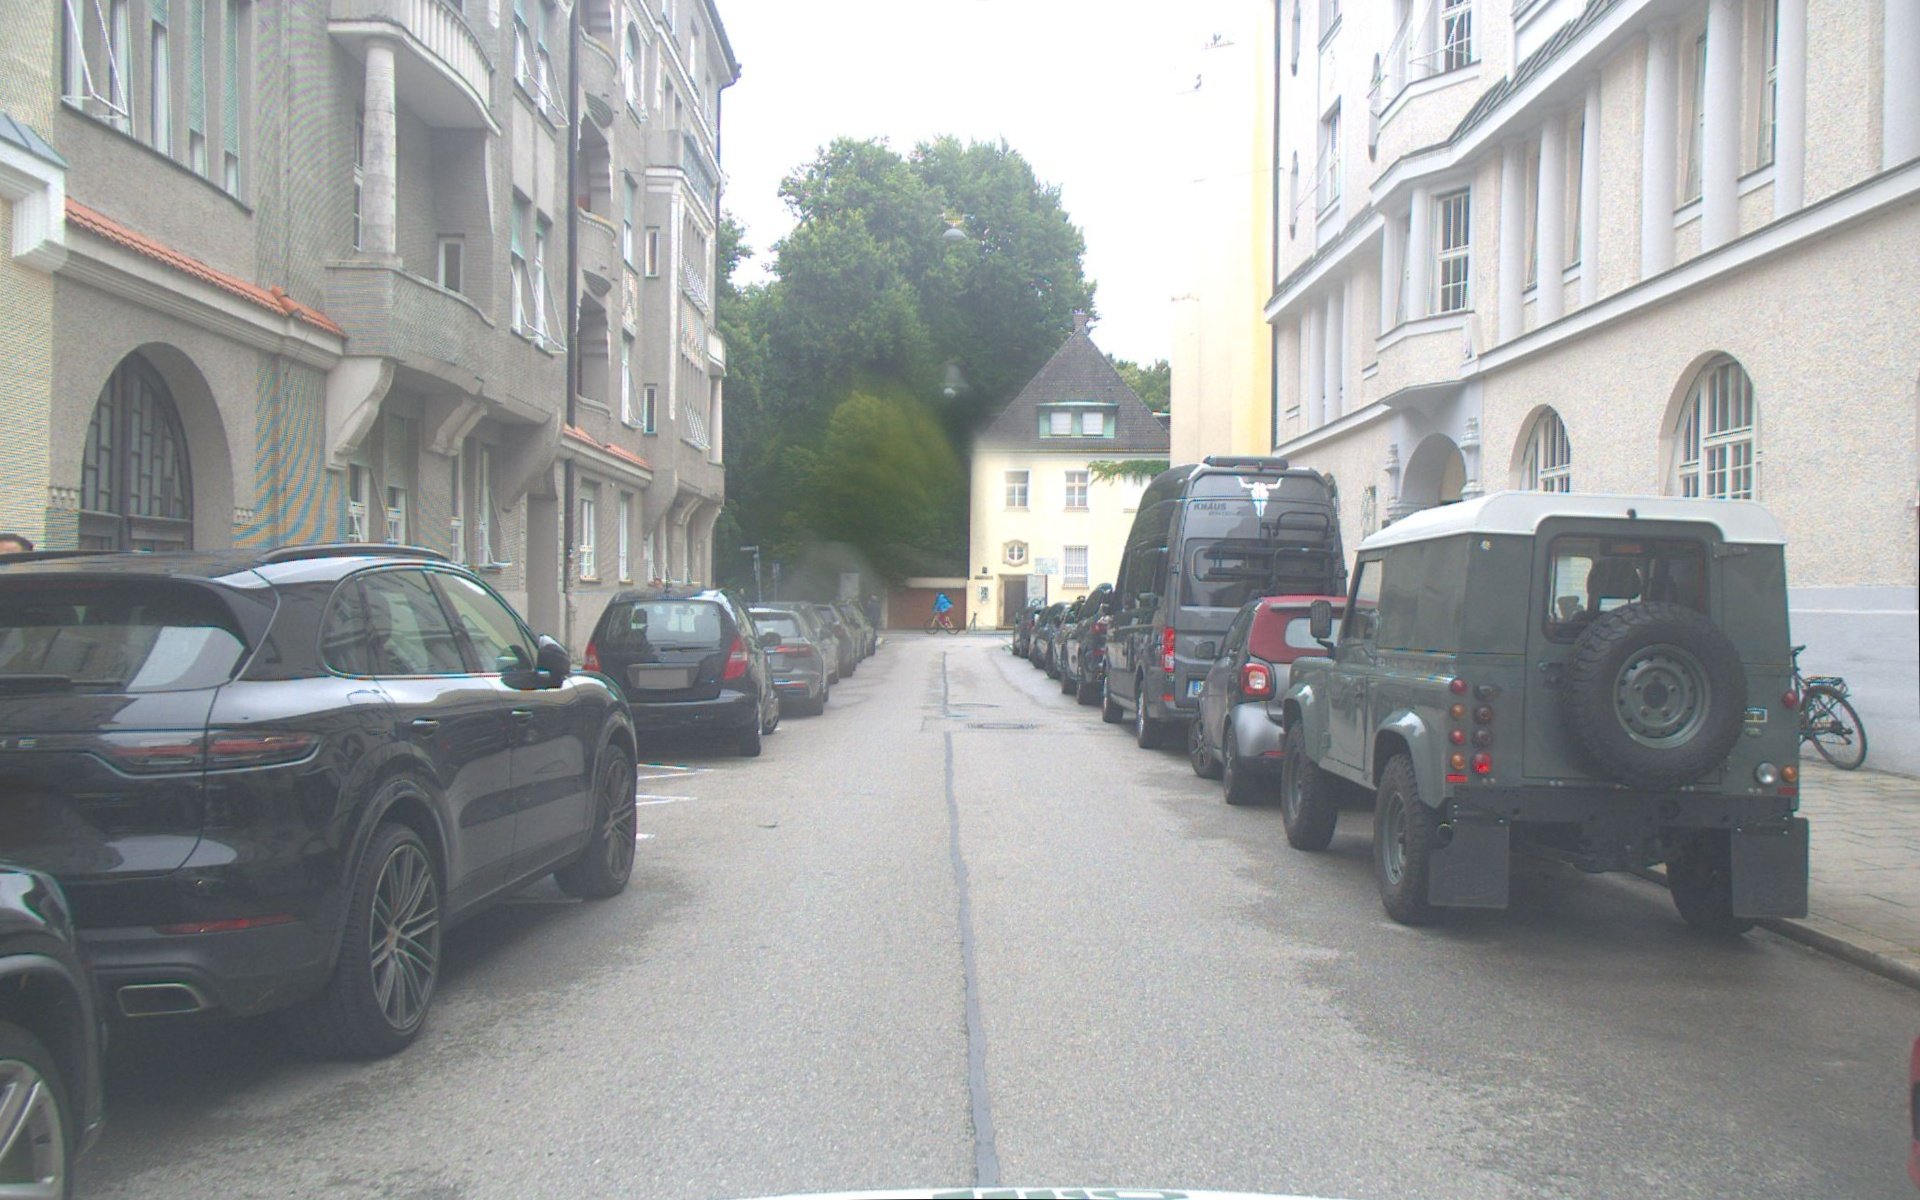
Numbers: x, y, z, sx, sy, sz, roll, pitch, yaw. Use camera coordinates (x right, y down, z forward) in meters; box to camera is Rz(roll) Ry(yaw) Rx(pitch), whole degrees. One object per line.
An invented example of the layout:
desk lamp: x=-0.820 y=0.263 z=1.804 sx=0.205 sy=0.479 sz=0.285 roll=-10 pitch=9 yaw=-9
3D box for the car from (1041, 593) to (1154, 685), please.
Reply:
car: x=2.553 y=0.707 z=31.554 sx=1.601 sy=1.620 sz=3.966 roll=1 pitch=0 yaw=-3

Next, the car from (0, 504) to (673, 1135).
car: x=-2.651 y=0.592 z=6.806 sx=1.910 sy=1.688 sz=4.619 roll=1 pitch=0 yaw=3

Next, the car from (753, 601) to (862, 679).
car: x=-3.017 y=0.765 z=33.573 sx=1.953 sy=1.474 sz=4.776 roll=0 pitch=0 yaw=-2

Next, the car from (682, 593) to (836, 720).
car: x=-2.649 y=0.697 z=22.673 sx=1.800 sy=1.540 sz=4.604 roll=1 pitch=0 yaw=-4

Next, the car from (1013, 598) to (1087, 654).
car: x=2.538 y=0.727 z=47.446 sx=1.659 sy=1.497 sz=4.608 roll=1 pitch=0 yaw=-3

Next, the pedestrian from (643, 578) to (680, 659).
pedestrian: x=-6.880 y=0.422 z=38.090 sx=0.702 sy=1.849 sz=0.730 roll=1 pitch=-1 yaw=-2

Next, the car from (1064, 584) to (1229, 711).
car: x=2.751 y=0.663 z=25.387 sx=1.953 sy=1.718 sz=4.673 roll=2 pitch=0 yaw=0

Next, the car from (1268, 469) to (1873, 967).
car: x=2.964 y=0.508 z=9.026 sx=1.759 sy=2.075 sz=4.071 roll=1 pitch=0 yaw=0

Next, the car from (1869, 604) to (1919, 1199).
car: x=3.013 y=0.782 z=2.292 sx=1.463 sy=1.497 sz=3.502 roll=2 pitch=0 yaw=-2

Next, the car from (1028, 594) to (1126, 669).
car: x=2.550 y=0.673 z=36.947 sx=1.602 sy=1.563 sz=3.851 roll=1 pitch=0 yaw=-5

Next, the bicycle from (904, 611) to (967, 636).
bicycle: x=-1.075 y=1.021 z=72.136 sx=2.556 sy=1.005 sz=0.988 roll=1 pitch=0 yaw=14

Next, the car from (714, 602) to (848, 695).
car: x=-3.011 y=0.774 z=28.643 sx=1.768 sy=1.456 sz=4.439 roll=-1 pitch=0 yaw=1

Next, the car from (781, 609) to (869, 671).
car: x=-3.127 y=0.907 z=39.065 sx=1.719 sy=1.354 sz=4.096 roll=0 pitch=0 yaw=0

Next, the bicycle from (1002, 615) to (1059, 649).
bicycle: x=2.323 y=1.053 z=54.560 sx=1.756 sy=1.104 sz=0.665 roll=-1 pitch=1 yaw=26

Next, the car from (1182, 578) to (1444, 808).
car: x=2.759 y=0.683 z=13.453 sx=1.510 sy=1.654 sz=2.815 roll=1 pitch=0 yaw=0

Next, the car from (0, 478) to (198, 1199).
car: x=-2.651 y=0.587 z=1.868 sx=1.696 sy=1.671 sz=4.101 roll=1 pitch=0 yaw=-1

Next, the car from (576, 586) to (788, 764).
car: x=-2.726 y=0.682 z=16.980 sx=1.767 sy=1.599 sz=3.810 roll=-1 pitch=0 yaw=-4

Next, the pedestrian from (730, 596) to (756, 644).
pedestrian: x=-8.428 y=0.767 z=64.283 sx=0.821 sy=1.818 sz=0.936 roll=1 pitch=-1 yaw=2

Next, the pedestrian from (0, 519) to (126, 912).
pedestrian: x=-4.674 y=0.531 z=8.049 sx=0.818 sy=1.821 sz=0.741 roll=1 pitch=-1 yaw=-1

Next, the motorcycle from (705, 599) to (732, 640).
motorcycle: x=-8.815 y=0.712 z=60.491 sx=0.721 sy=1.466 sz=2.146 roll=1 pitch=0 yaw=-2

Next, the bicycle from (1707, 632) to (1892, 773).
bicycle: x=7.201 y=0.849 z=14.289 sx=0.638 sy=1.088 sz=1.788 roll=-2 pitch=0 yaw=-1

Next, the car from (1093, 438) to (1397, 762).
car: x=2.963 y=0.055 z=18.784 sx=2.209 sy=3.012 sz=6.130 roll=2 pitch=-1 yaw=-1

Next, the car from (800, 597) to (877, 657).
car: x=-3.230 y=0.700 z=44.774 sx=1.719 sy=1.541 sz=4.707 roll=0 pitch=0 yaw=0

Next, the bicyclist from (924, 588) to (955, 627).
bicyclist: x=-0.891 y=0.318 z=72.084 sx=1.100 sy=1.680 sz=0.988 roll=1 pitch=-1 yaw=14
